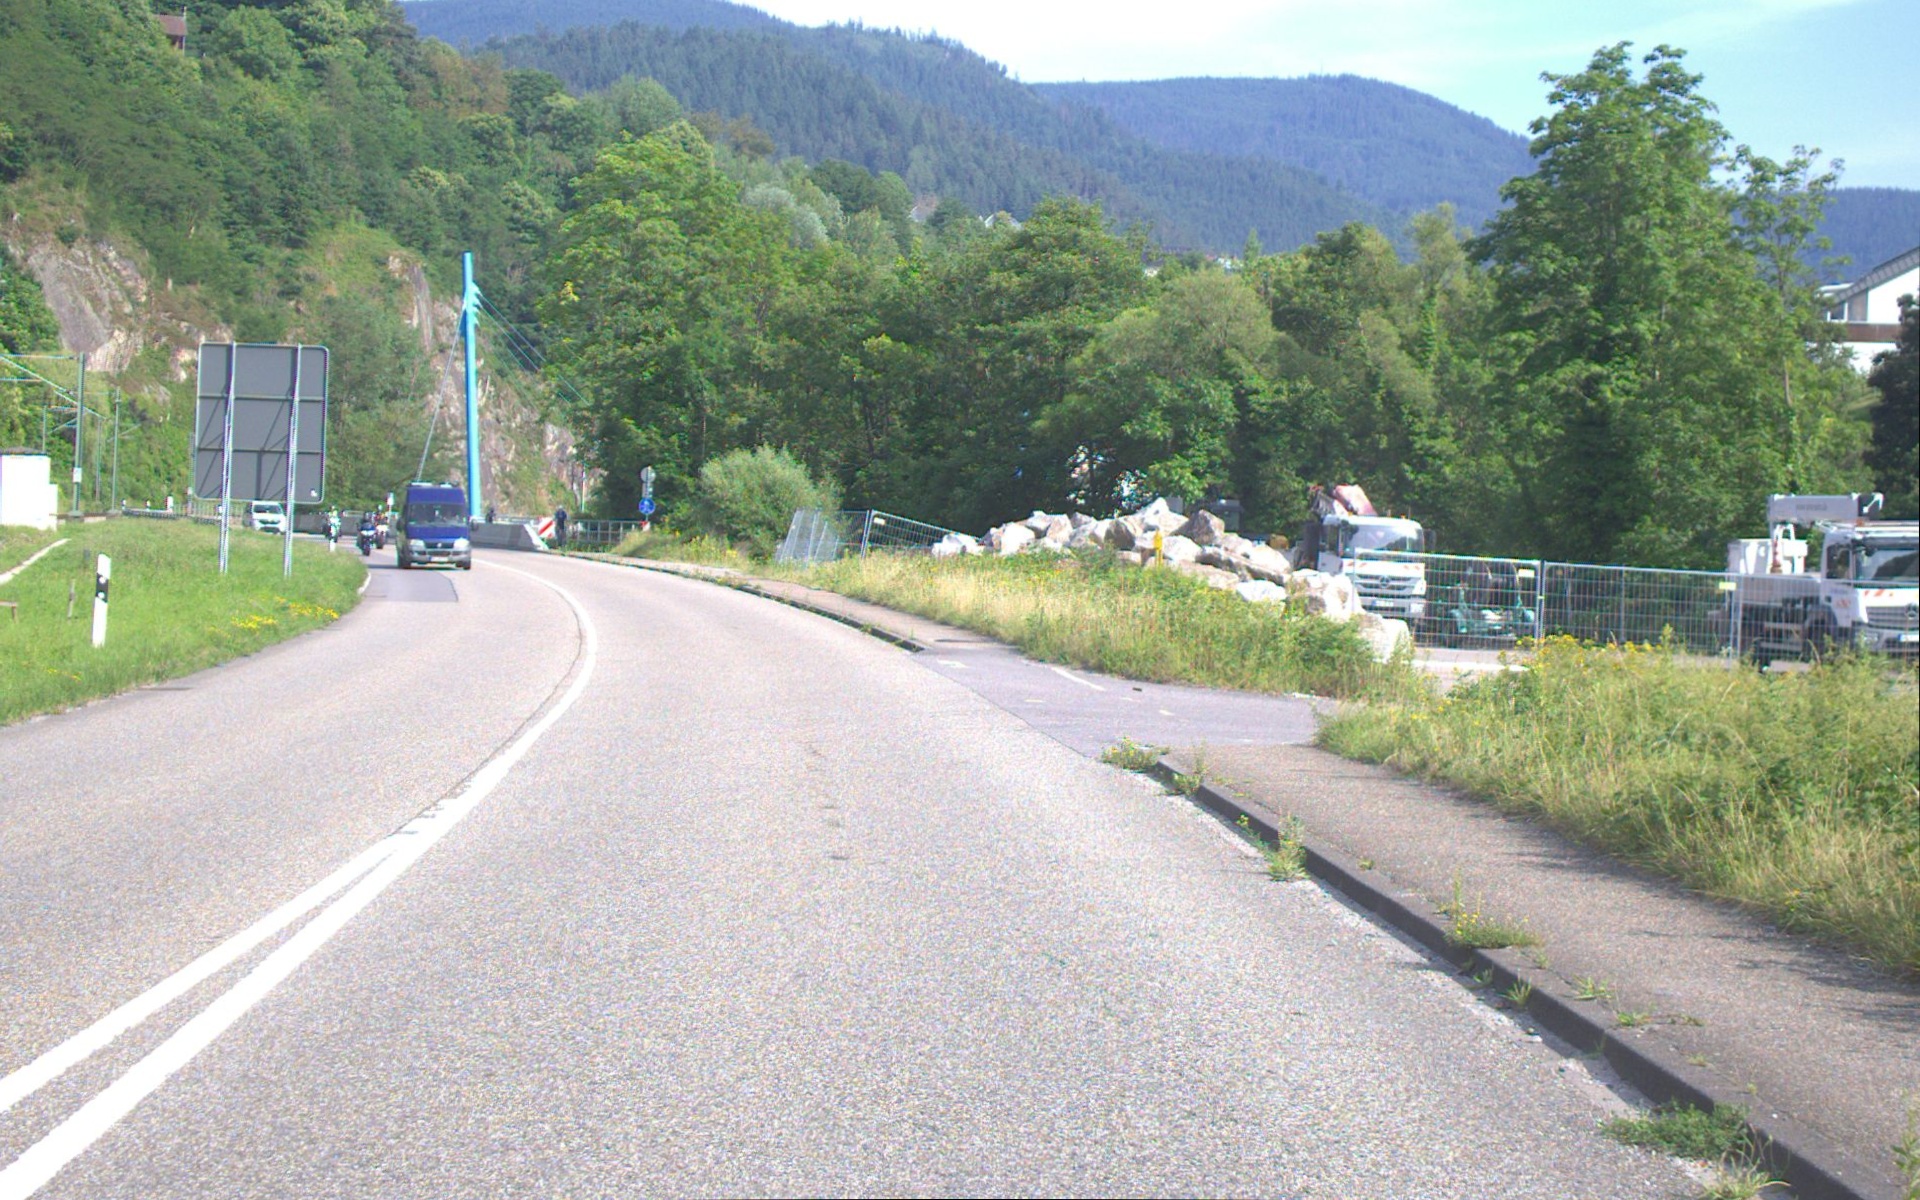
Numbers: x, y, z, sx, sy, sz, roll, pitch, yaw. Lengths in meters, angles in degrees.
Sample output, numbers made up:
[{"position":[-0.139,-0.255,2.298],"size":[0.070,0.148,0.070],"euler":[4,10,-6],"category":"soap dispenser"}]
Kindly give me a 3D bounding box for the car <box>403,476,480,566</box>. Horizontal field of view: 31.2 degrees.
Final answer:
[{"position":[-15.330,-2.355,101.839],"size":[2.126,2.606,5.481],"euler":[0,2,-8],"category":"car"}]

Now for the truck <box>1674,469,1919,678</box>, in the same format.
[{"position":[17.078,-0.558,68.284],"size":[3.102,3.769,8.646],"euler":[3,1,-5],"category":"truck"}]

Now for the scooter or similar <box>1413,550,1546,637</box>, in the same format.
[{"position":[12.704,-0.188,84.268],"size":[1.993,2.007,4.001],"euler":[1,1,-11],"category":"scooter or similar"}]

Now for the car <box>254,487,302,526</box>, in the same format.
[{"position":[-34.185,-4.681,172.236],"size":[1.869,1.775,4.601],"euler":[2,2,-17],"category":"car"}]

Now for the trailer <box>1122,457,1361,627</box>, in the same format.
[{"position":[7.536,-1.581,93.917],"size":[3.364,4.259,9.912],"euler":[3,0,-14],"category":"trailer"}]

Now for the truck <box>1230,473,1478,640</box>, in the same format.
[{"position":[9.592,-1.140,84.897],"size":[3.102,3.769,8.648],"euler":[3,1,-14],"category":"truck"}]
